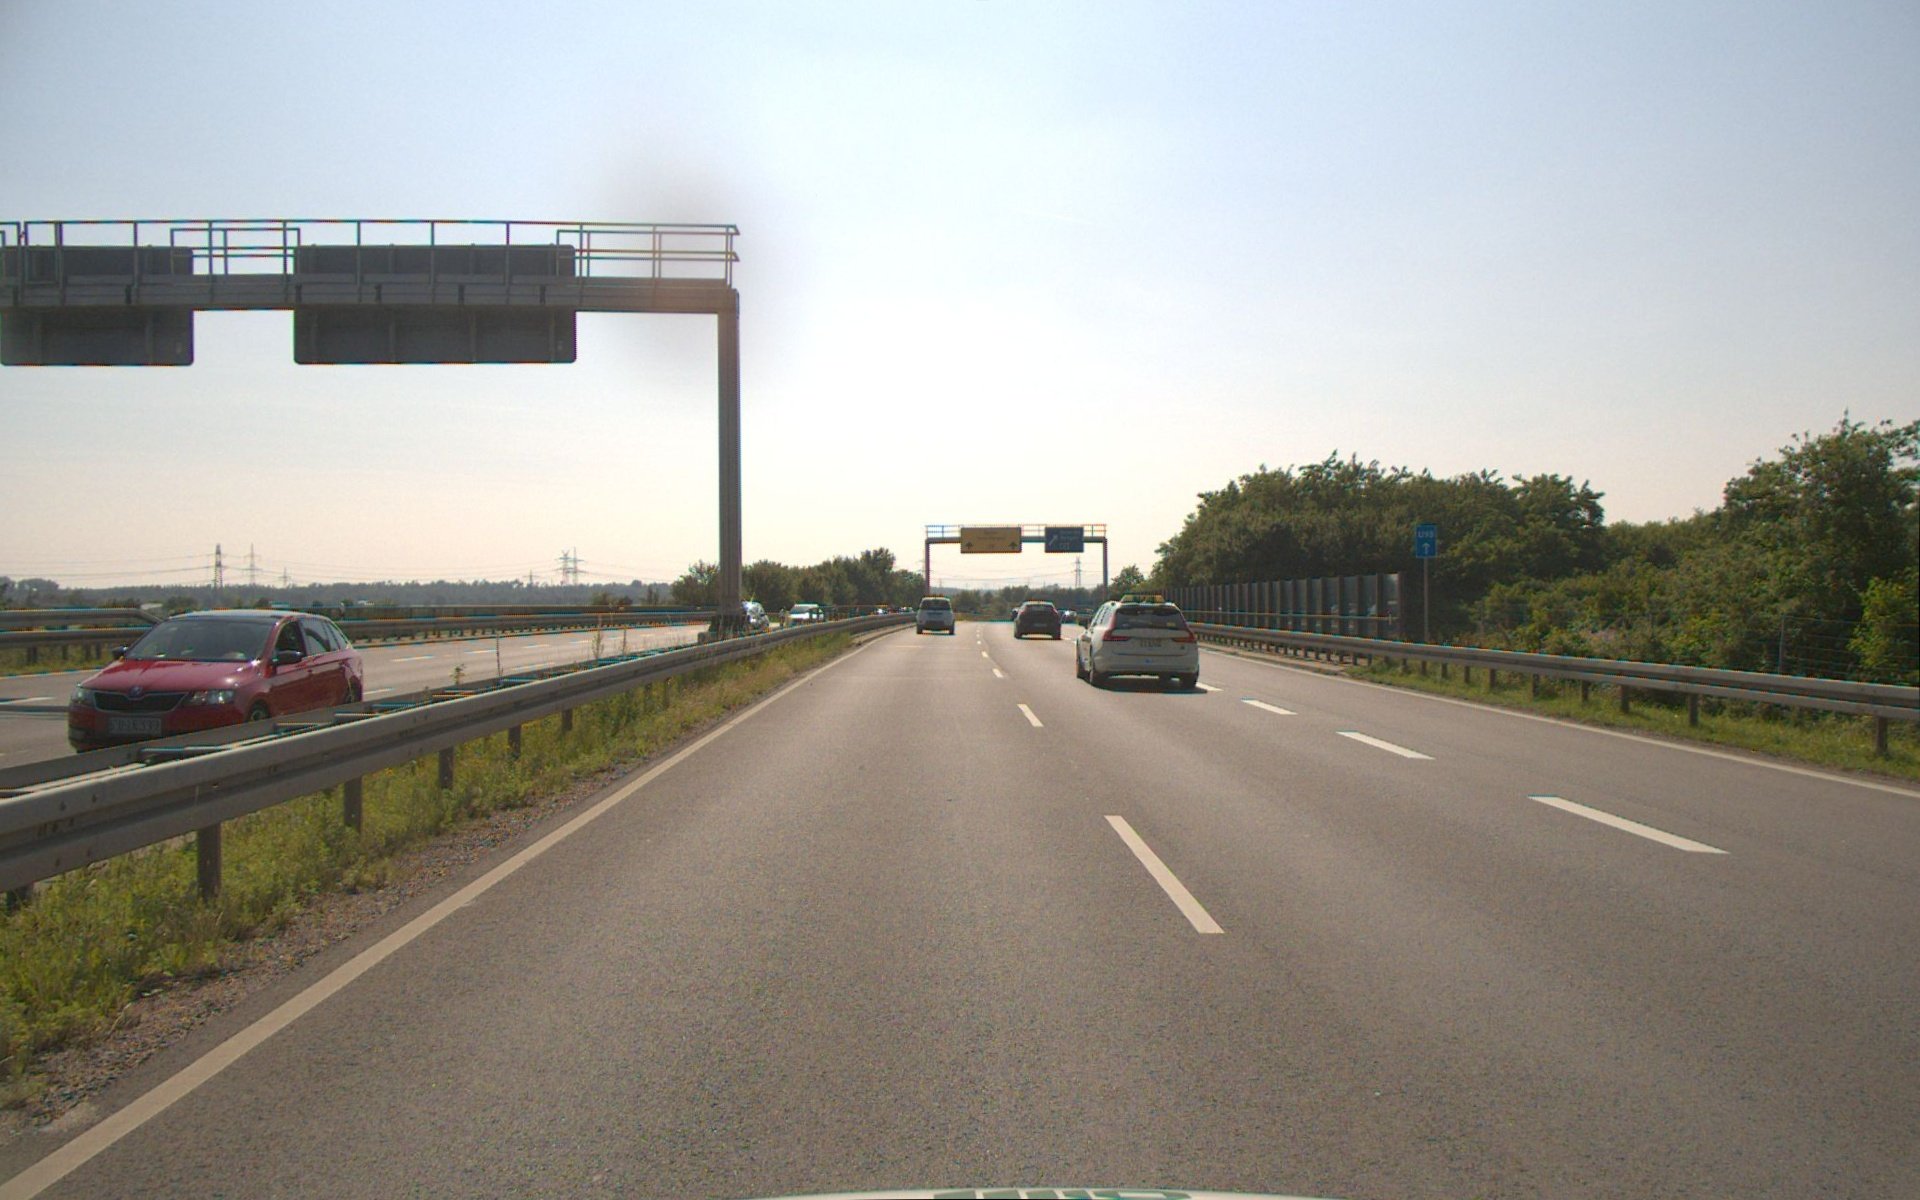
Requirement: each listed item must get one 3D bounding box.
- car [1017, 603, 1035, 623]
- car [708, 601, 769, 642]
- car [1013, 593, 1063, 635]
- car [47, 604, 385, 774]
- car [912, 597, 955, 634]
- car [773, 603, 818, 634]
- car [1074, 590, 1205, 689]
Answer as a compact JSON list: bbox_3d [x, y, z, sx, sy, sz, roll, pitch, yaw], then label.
[{"bbox_3d":[7.164,1.395,179.656,1.952,2.049,4.001,1,0,2],"label":"car"},{"bbox_3d":[-8.654,0.816,64.807,1.758,1.499,4.000,1,0,1],"label":"car"},{"bbox_3d":[3.028,0.566,64.762,1.756,1.570,3.671,1,-1,-1],"label":"car"},{"bbox_3d":[-7.559,0.822,17.293,1.676,1.512,4.264,1,0,-2],"label":"car"},{"bbox_3d":[-1.112,0.674,71.691,1.756,1.529,4.043,0,-1,1],"label":"car"},{"bbox_3d":[-8.219,0.918,82.994,1.835,1.463,4.501,1,0,-1],"label":"car"},{"bbox_3d":[3.145,0.655,29.692,1.918,1.629,4.107,1,0,0],"label":"car"}]
